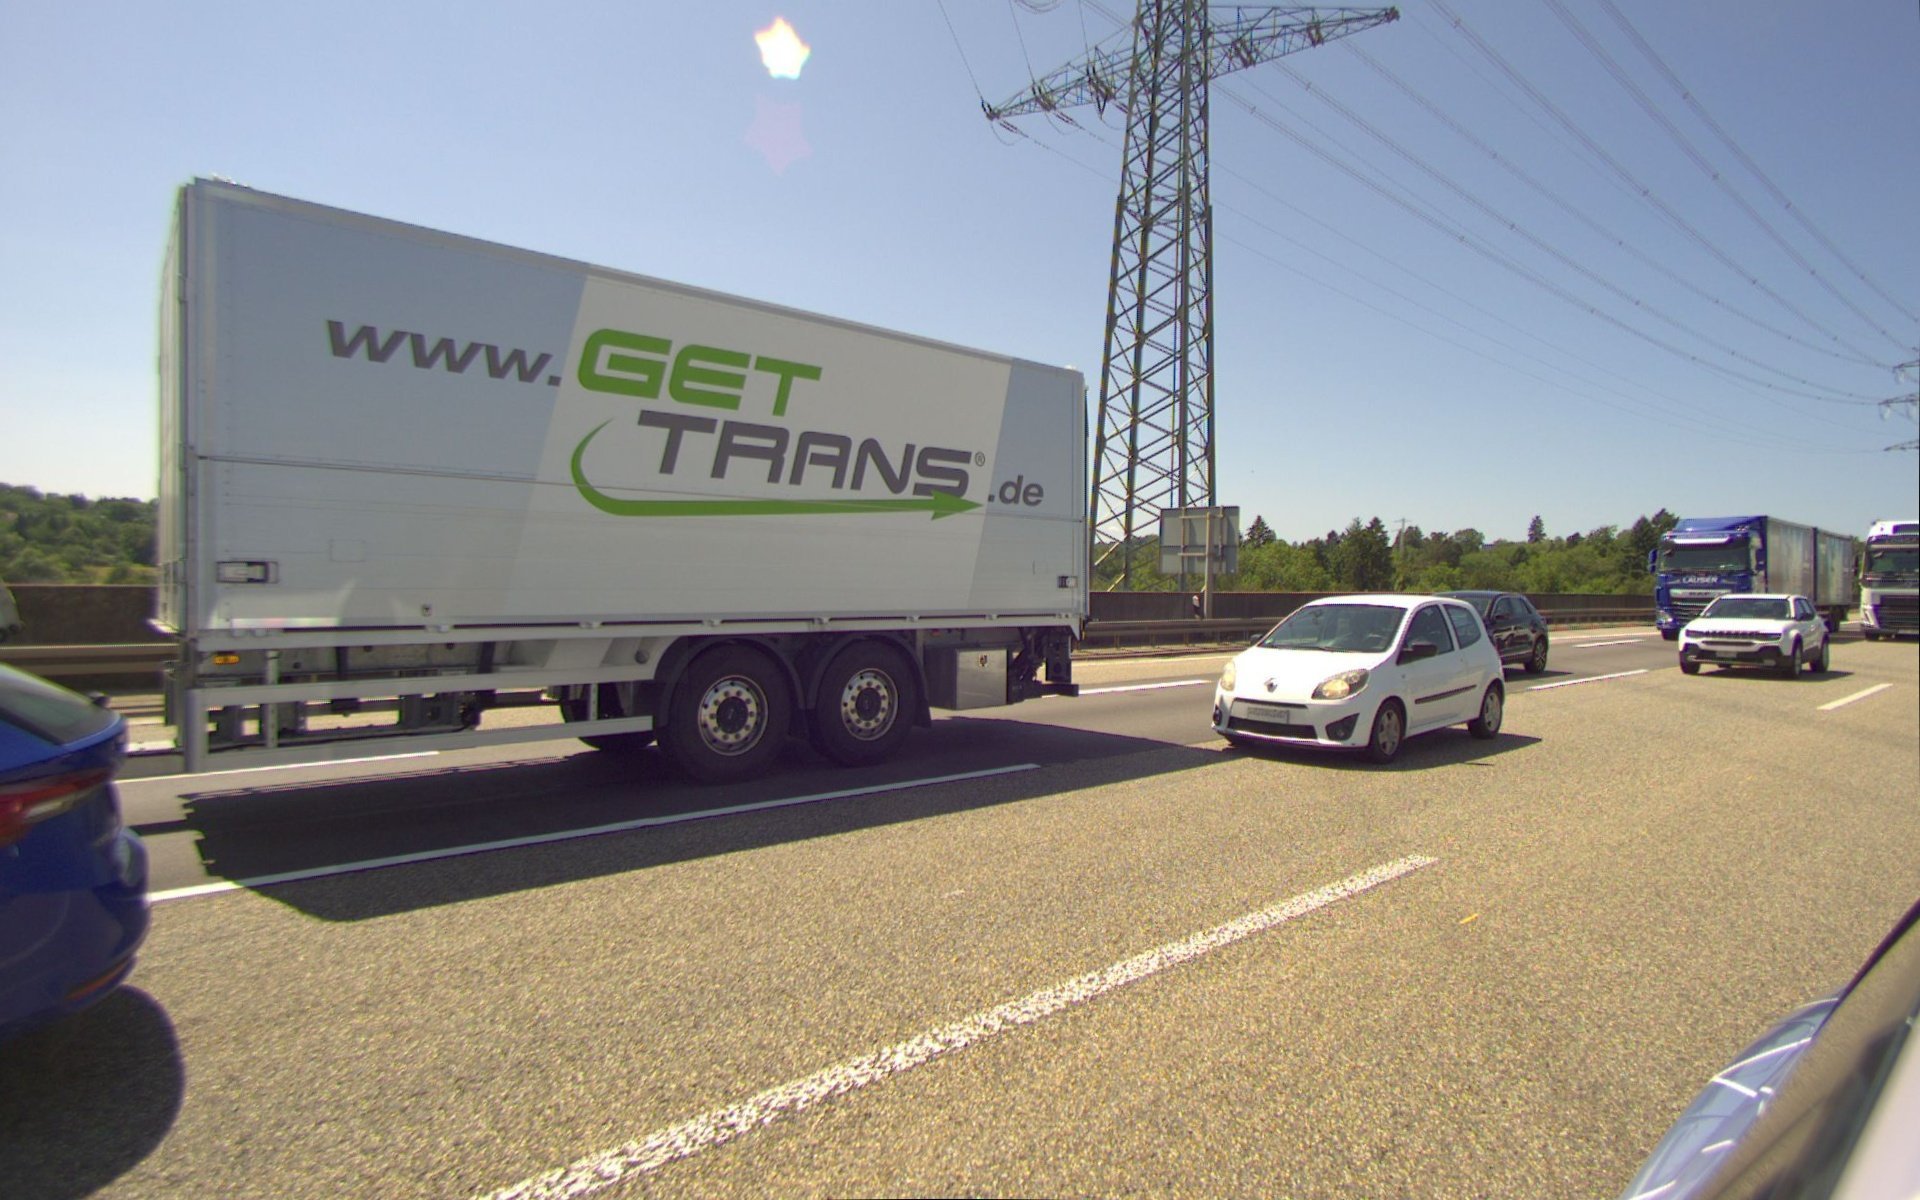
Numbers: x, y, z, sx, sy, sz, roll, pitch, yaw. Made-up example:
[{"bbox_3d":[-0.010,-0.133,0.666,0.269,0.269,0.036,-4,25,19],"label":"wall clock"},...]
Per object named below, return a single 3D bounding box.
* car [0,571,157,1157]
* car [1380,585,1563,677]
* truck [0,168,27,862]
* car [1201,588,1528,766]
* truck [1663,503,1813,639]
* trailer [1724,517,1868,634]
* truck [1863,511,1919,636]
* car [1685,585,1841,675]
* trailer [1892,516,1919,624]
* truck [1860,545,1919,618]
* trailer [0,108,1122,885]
[{"bbox_3d":[-4.368,0.657,1.893,4.422,1.458,1.712,0,1,-42],"label":"car"},{"bbox_3d":[9.521,0.490,18.727,3.820,1.524,1.708,0,1,-41],"label":"car"},{"bbox_3d":[-9.437,-0.413,2.326,10.581,3.648,2.855,-1,0,-41],"label":"truck"},{"bbox_3d":[4.118,0.616,10.073,3.566,1.458,1.582,0,1,-41],"label":"car"},{"bbox_3d":[25.858,-0.888,33.472,7.789,4.018,2.515,0,0,-41],"label":"truck"},{"bbox_3d":[32.833,-0.938,39.517,10.695,4.044,2.541,-1,0,-41],"label":"trailer"},{"bbox_3d":[32.617,-0.878,33.789,6.624,3.941,2.911,-1,0,-41],"label":"truck"},{"bbox_3d":[15.444,0.506,19.412,3.688,1.554,1.720,0,1,-41],"label":"car"},{"bbox_3d":[38.715,-1.148,39.151,9.605,3.918,2.895,-1,0,-41],"label":"trailer"},{"bbox_3d":[53.669,-1.029,57.574,6.624,3.941,2.911,-1,0,-41],"label":"truck"},{"bbox_3d":[-2.371,-0.505,8.495,8.147,3.640,2.849,0,0,-41],"label":"trailer"}]
